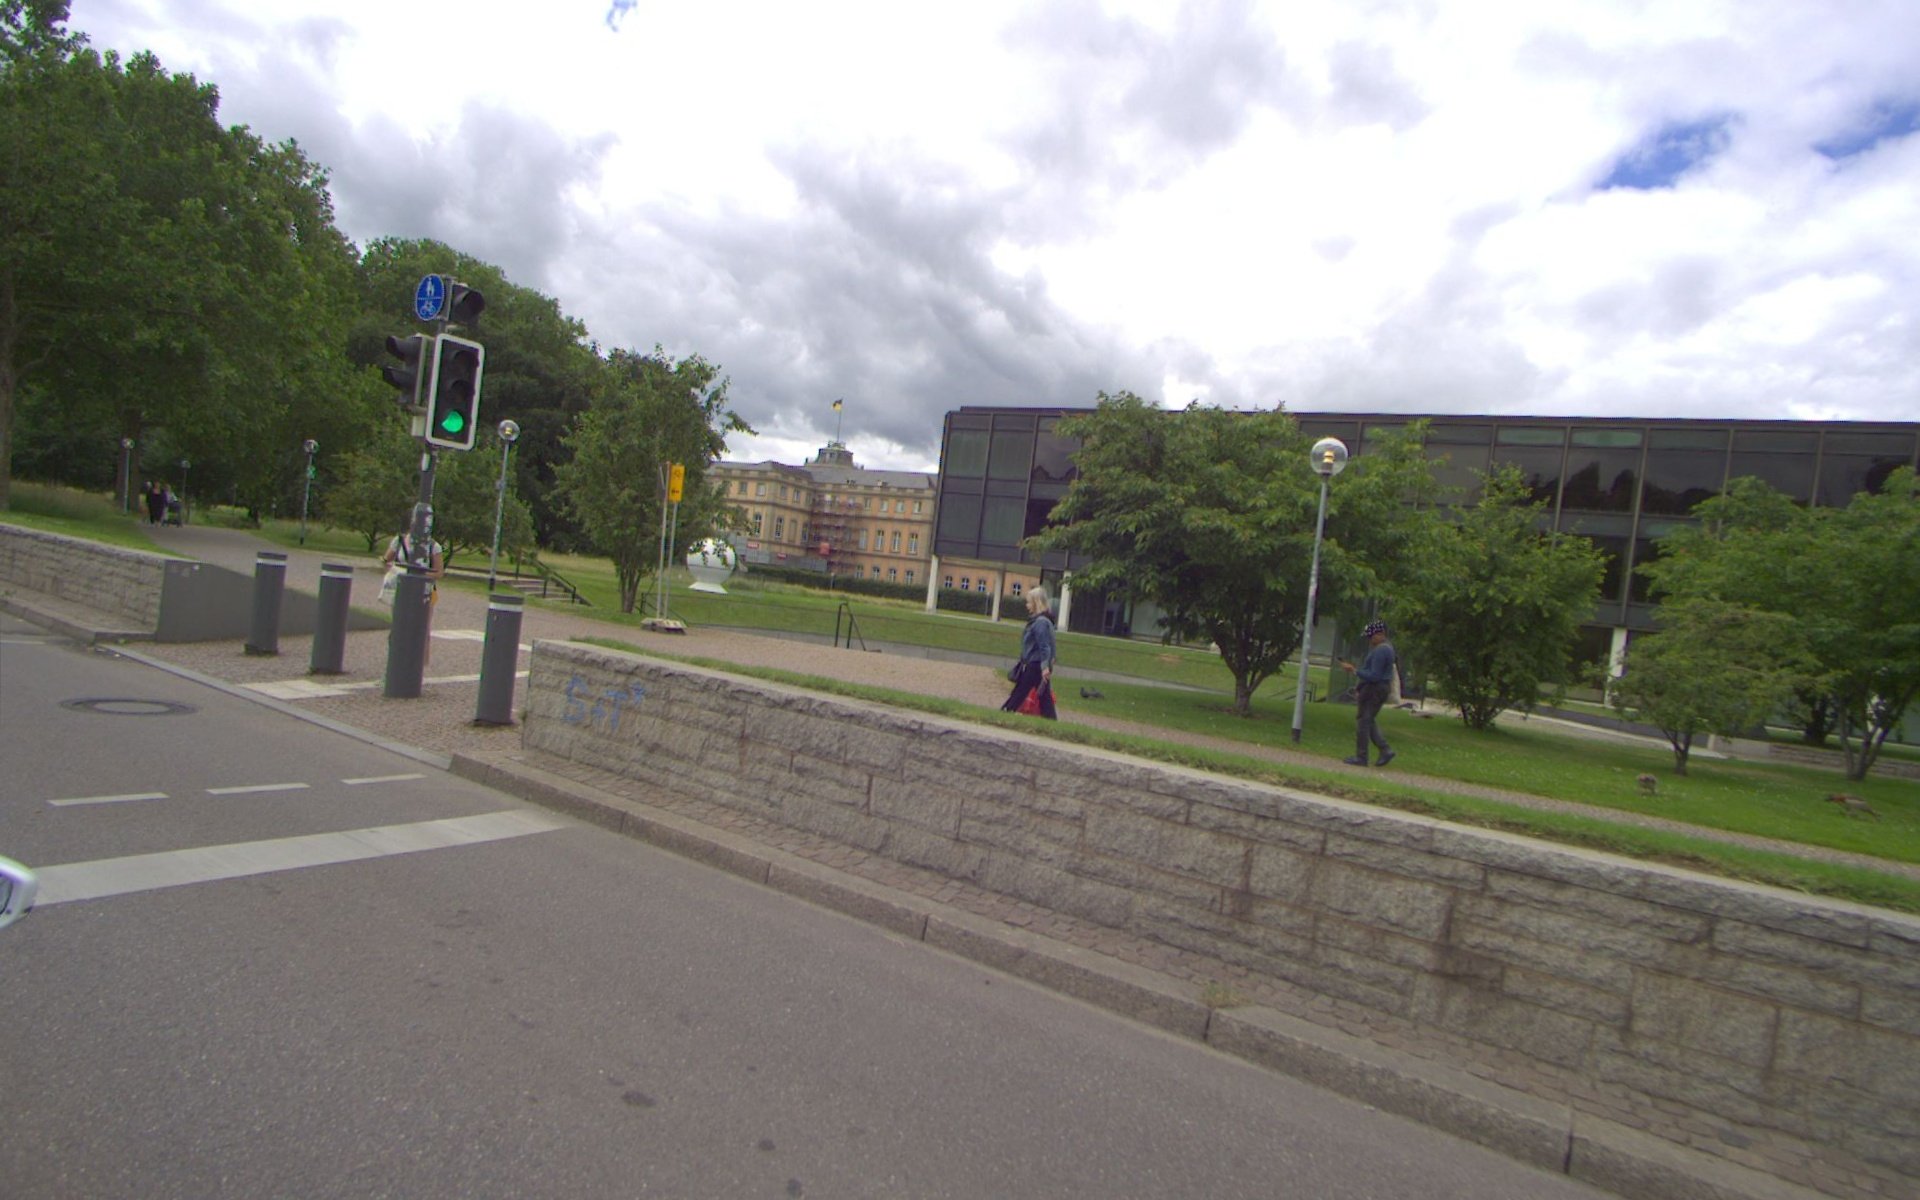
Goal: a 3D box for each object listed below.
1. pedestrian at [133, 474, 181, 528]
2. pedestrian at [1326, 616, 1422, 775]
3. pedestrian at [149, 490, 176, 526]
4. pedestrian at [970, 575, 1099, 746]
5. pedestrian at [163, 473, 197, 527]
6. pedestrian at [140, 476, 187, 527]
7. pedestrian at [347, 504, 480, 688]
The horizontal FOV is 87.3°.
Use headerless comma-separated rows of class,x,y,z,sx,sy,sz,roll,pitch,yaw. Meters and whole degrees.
pedestrian,-29.067,-3.584,36.415,0.952,1.752,0.898,7,-2,31
pedestrian,4.641,1.058,11.272,0.616,1.647,0.801,8,1,38
pedestrian,-32.640,-3.771,41.184,0.533,1.339,0.583,6,-2,31
pedestrian,0.741,0.607,10.156,0.680,1.582,0.897,6,2,-42
pedestrian,-31.410,-4.018,40.514,0.917,2.036,0.571,7,-2,31
pedestrian,-32.609,-4.042,41.206,1.012,1.857,0.999,7,-2,28
pedestrian,-5.336,-0.027,9.841,0.672,1.674,0.699,7,-2,30
